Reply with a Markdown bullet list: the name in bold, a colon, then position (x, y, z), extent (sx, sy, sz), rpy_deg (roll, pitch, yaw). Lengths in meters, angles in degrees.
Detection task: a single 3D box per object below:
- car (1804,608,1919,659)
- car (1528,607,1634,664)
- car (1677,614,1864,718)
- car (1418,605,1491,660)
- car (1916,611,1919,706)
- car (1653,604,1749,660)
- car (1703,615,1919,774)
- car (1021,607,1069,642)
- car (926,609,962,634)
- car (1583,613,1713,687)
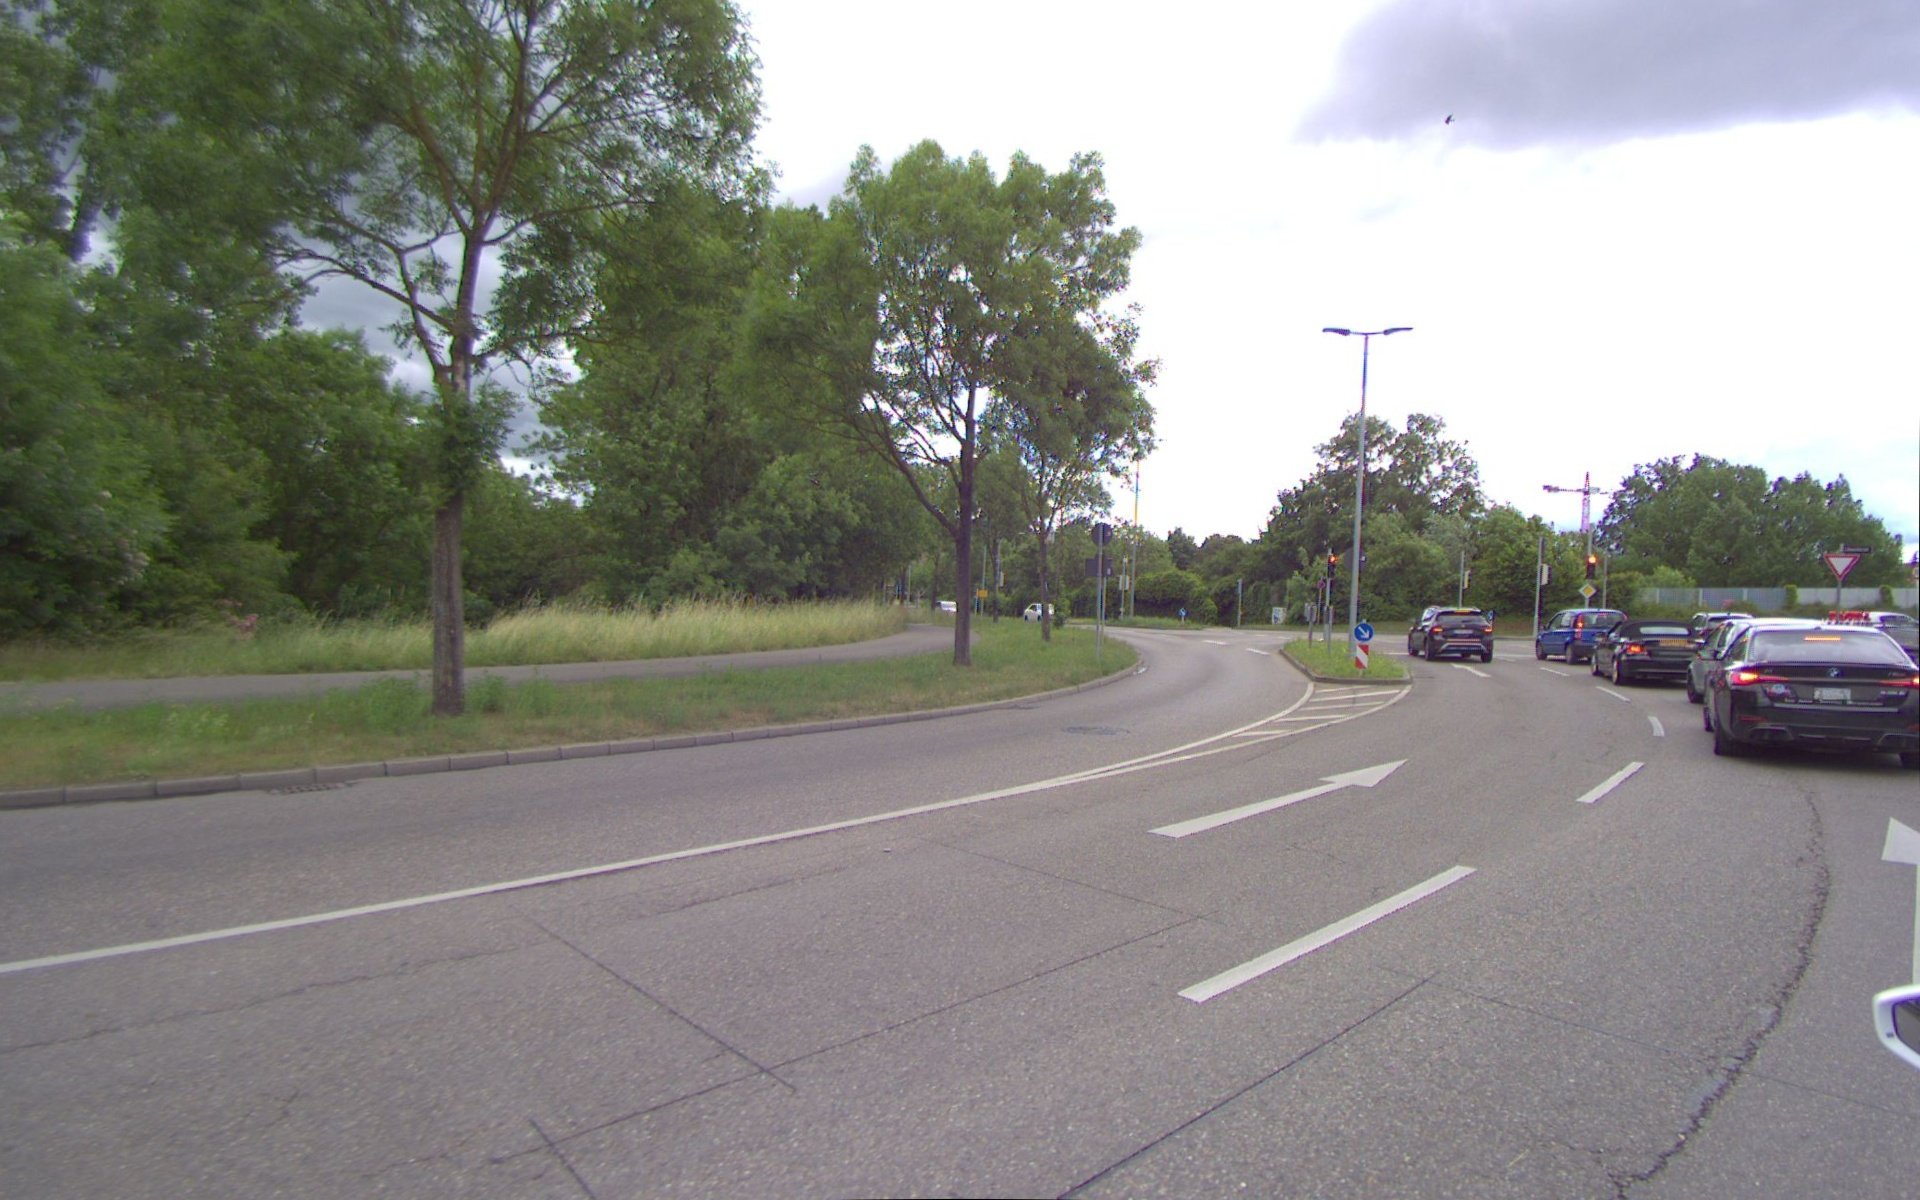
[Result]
- **car**: position (33.732, 1.241, 37.192), extent (3.930, 1.697, 1.713), rpy_deg (3, 0, -12)
- **car**: position (17.742, 0.969, 28.843), extent (1.517, 1.527, 3.382), rpy_deg (1, 0, 12)
- **car**: position (13.107, 0.989, 16.473), extent (1.643, 1.489, 3.623), rpy_deg (-1, -1, 27)
- **car**: position (14.687, 0.935, 29.963), extent (1.629, 1.527, 3.768), rpy_deg (-1, -1, 22)
- **car**: position (15.673, 0.955, 14.615), extent (1.772, 1.573, 3.990), rpy_deg (1, 0, 32)
- **car**: position (22.705, 0.933, 30.920), extent (1.792, 1.573, 3.783), rpy_deg (2, 0, 28)
- **car**: position (10.095, 0.941, 11.997), extent (1.848, 1.496, 4.947), rpy_deg (0, -1, 35)
- **car**: position (5.887, 1.674, 69.884), extent (1.903, 2.021, 4.308), rpy_deg (3, 2, -15)
- **car**: position (-1.405, 1.803, 86.338), extent (2.048, 1.783, 4.308), rpy_deg (3, 2, -15)
- **car**: position (15.013, 1.032, 22.122), extent (1.538, 1.386, 4.081), rpy_deg (-1, 0, 23)
